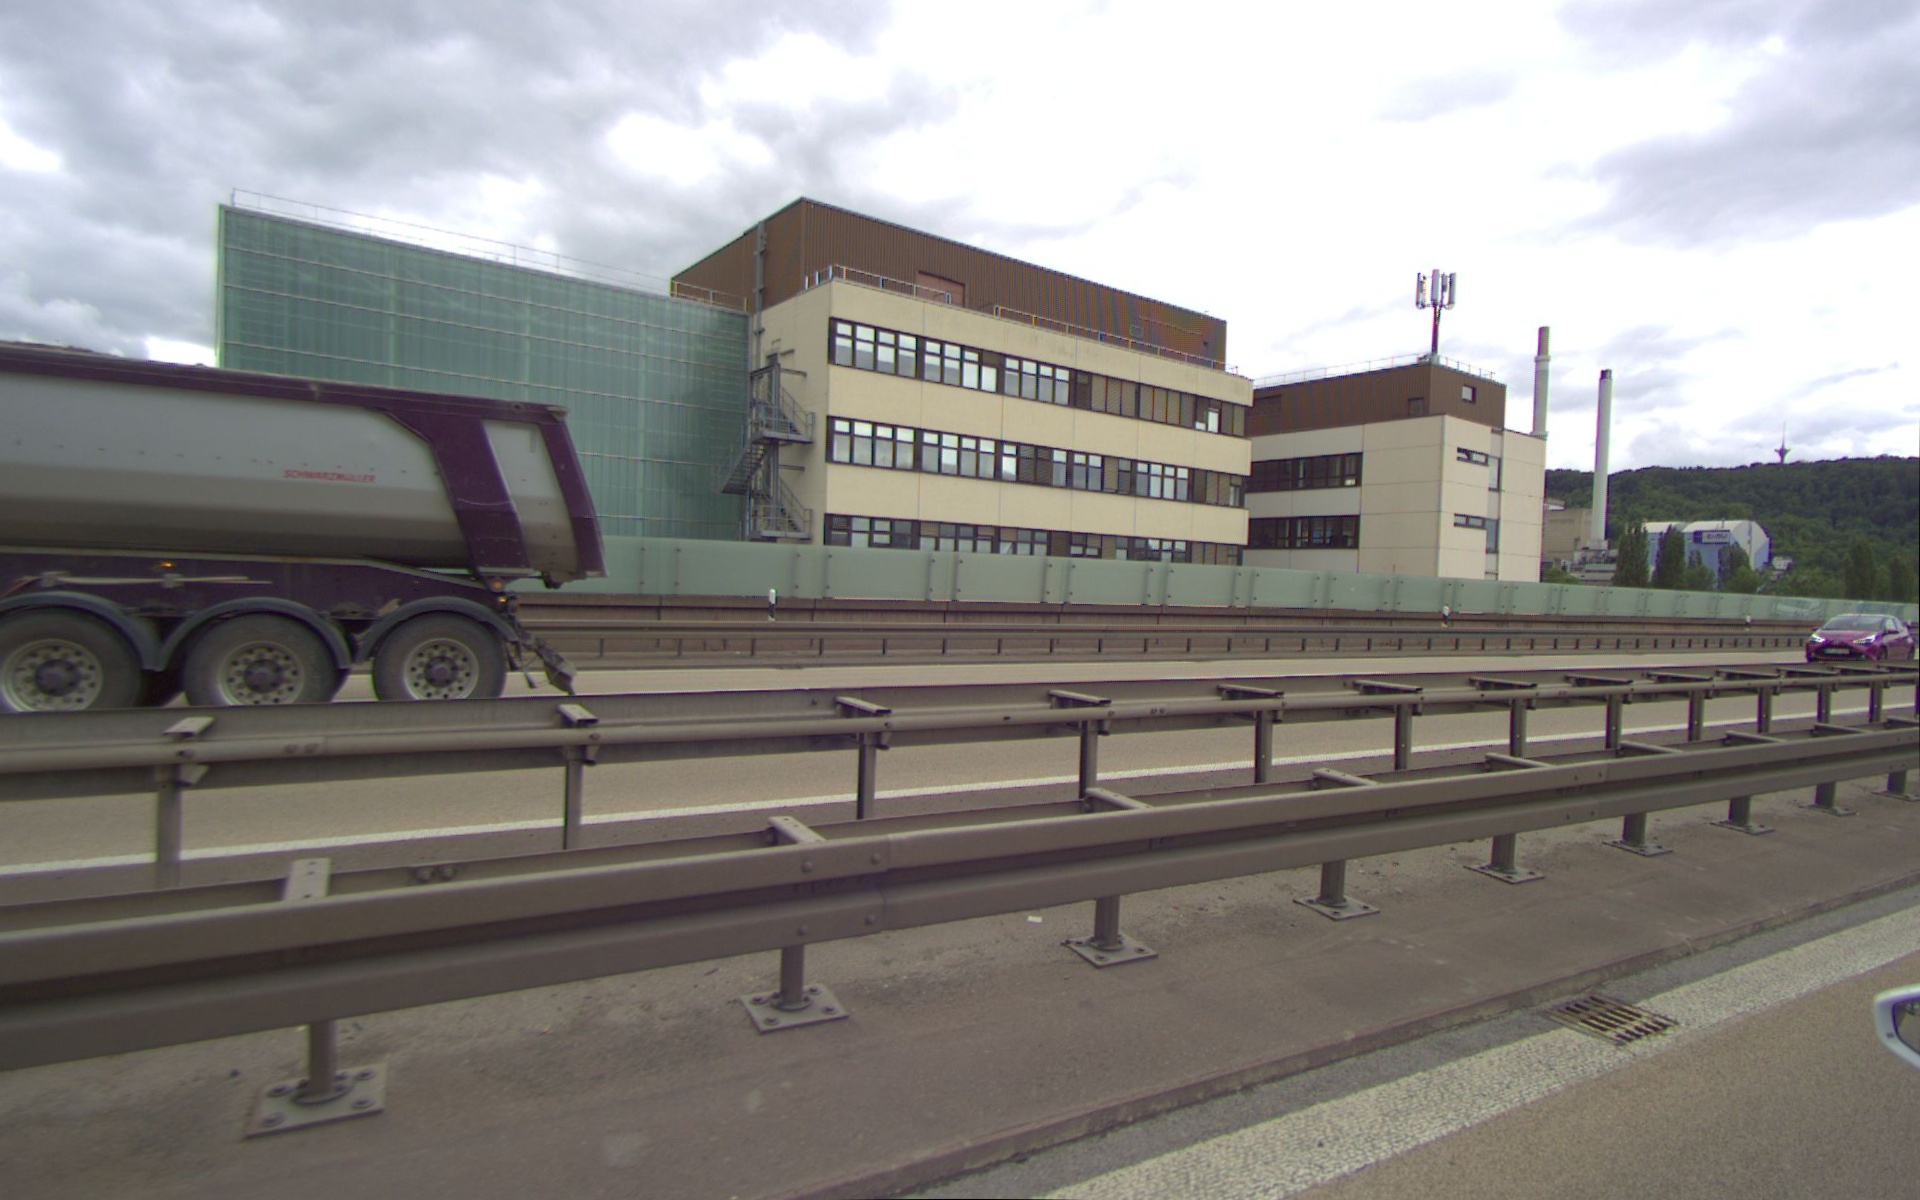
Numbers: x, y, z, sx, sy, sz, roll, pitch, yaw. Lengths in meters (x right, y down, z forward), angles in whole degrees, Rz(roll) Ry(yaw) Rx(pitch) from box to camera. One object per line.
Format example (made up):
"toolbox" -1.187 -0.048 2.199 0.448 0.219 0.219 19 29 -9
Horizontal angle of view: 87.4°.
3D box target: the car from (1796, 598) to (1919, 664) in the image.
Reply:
"car" 25.524 0.861 28.249 4.363 1.697 1.981 2 0 -35

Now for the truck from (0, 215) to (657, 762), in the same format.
"truck" -8.695 -0.837 7.645 11.874 3.860 2.798 2 0 -29
